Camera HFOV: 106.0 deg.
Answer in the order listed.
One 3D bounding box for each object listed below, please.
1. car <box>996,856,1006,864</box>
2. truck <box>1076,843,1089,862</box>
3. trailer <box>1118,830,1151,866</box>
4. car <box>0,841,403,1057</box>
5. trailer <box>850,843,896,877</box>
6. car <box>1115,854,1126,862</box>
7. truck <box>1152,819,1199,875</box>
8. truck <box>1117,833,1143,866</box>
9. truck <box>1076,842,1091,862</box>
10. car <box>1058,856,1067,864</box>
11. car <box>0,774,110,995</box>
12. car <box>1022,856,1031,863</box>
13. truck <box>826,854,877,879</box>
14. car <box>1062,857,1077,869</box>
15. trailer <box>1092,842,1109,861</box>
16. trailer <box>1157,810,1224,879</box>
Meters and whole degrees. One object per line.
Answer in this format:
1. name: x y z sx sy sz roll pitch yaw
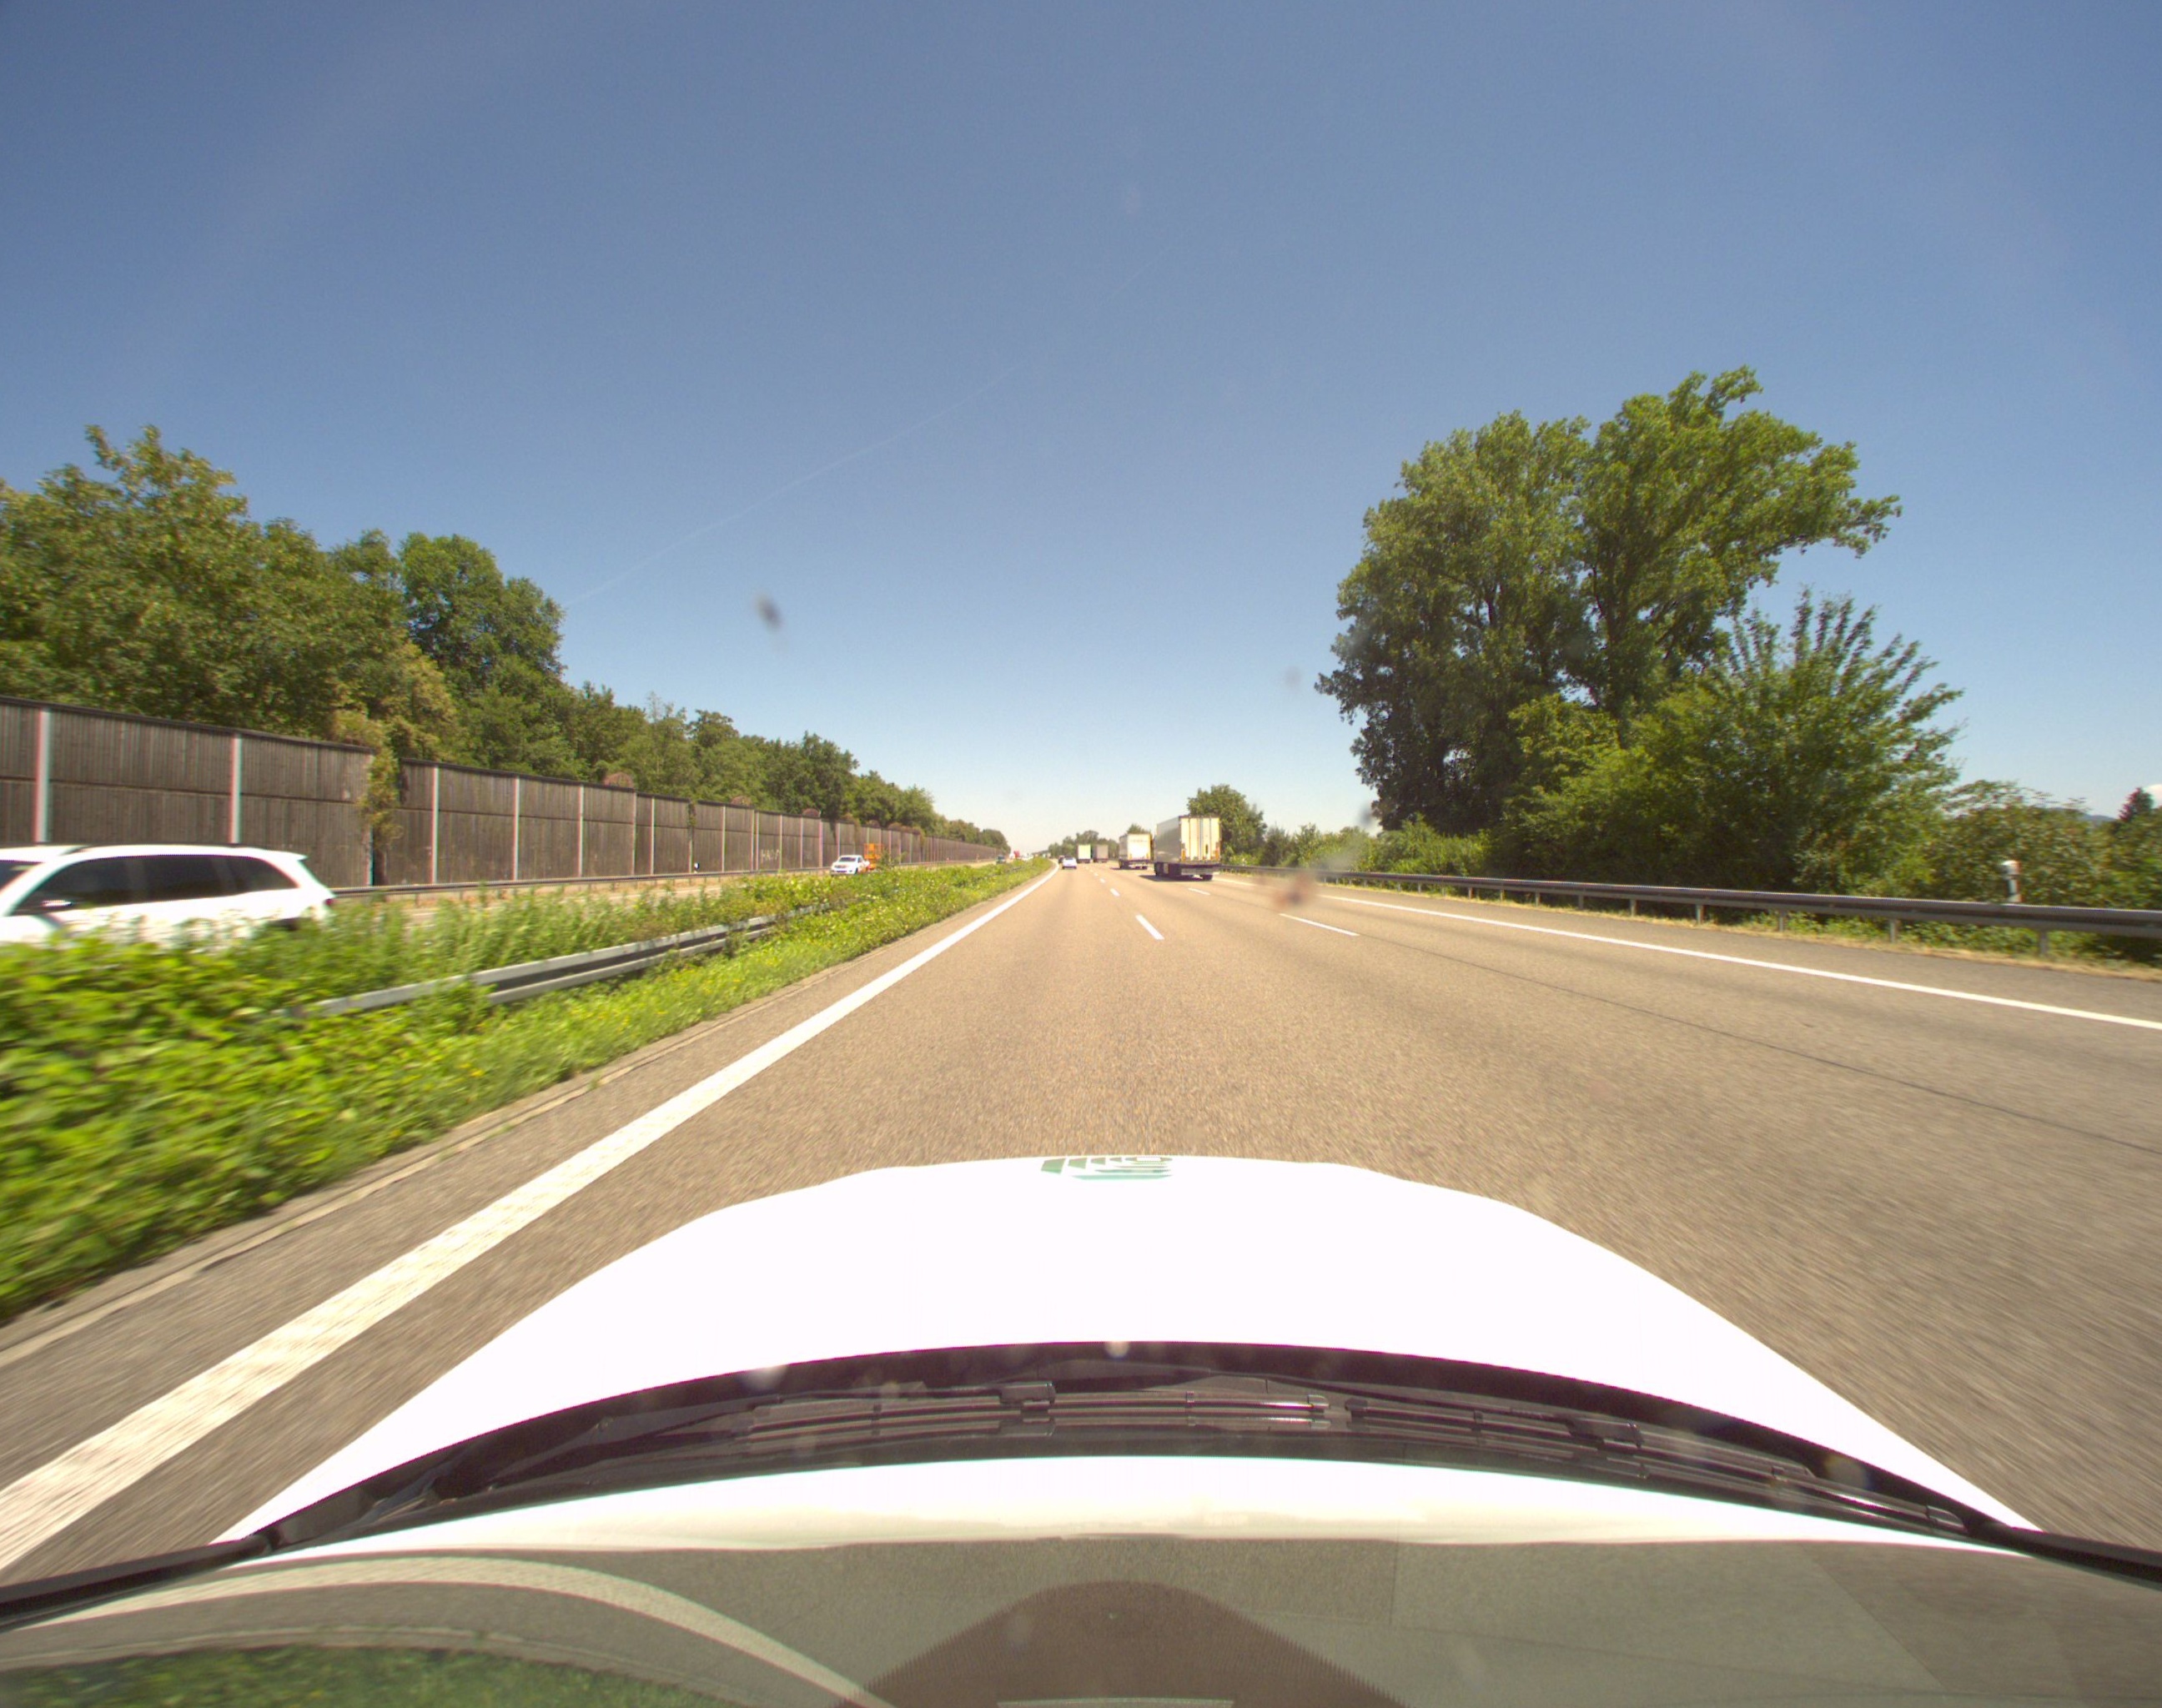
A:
1. car: -15.816 1.220 161.079 1.991 1.647 4.683 0 0 -6
2. truck: 0.372 -0.255 181.719 2.720 4.086 7.272 1 -1 -1
3. trailer: 6.348 -0.632 98.398 2.700 4.088 14.140 0 0 -2
4. car: -9.640 0.749 7.820 1.989 1.720 5.023 1 0 0
5. trailer: -17.579 0.484 69.198 2.235 2.776 6.509 0 0 0
6. car: 8.279 0.818 170.450 1.850 1.617 3.997 0 0 -2
7. truck: 7.181 -0.498 62.769 2.949 4.106 6.207 -1 0 0
8. truck: 6.152 -0.554 103.956 2.700 4.088 6.959 0 0 -2
9. truck: 0.515 -0.296 176.357 2.699 4.086 13.464 1 -1 -1
10. car: -3.812 1.176 166.690 1.850 1.617 3.998 0 0 -1
11. car: -13.515 0.333 6.989 2.158 2.540 6.788 1 0 0
12. car: -13.611 1.341 202.364 1.988 1.647 5.041 -1 0 -2
13. truck: -17.611 0.956 62.822 2.094 1.816 6.211 0 0 0
14. car: -1.400 1.147 101.840 1.850 1.486 3.998 0 0 -1
15. trailer: 4.514 -0.592 191.219 2.699 4.216 13.187 1 -1 -5
16. trailer: 7.160 -0.525 55.095 2.949 4.106 12.532 -1 0 1
